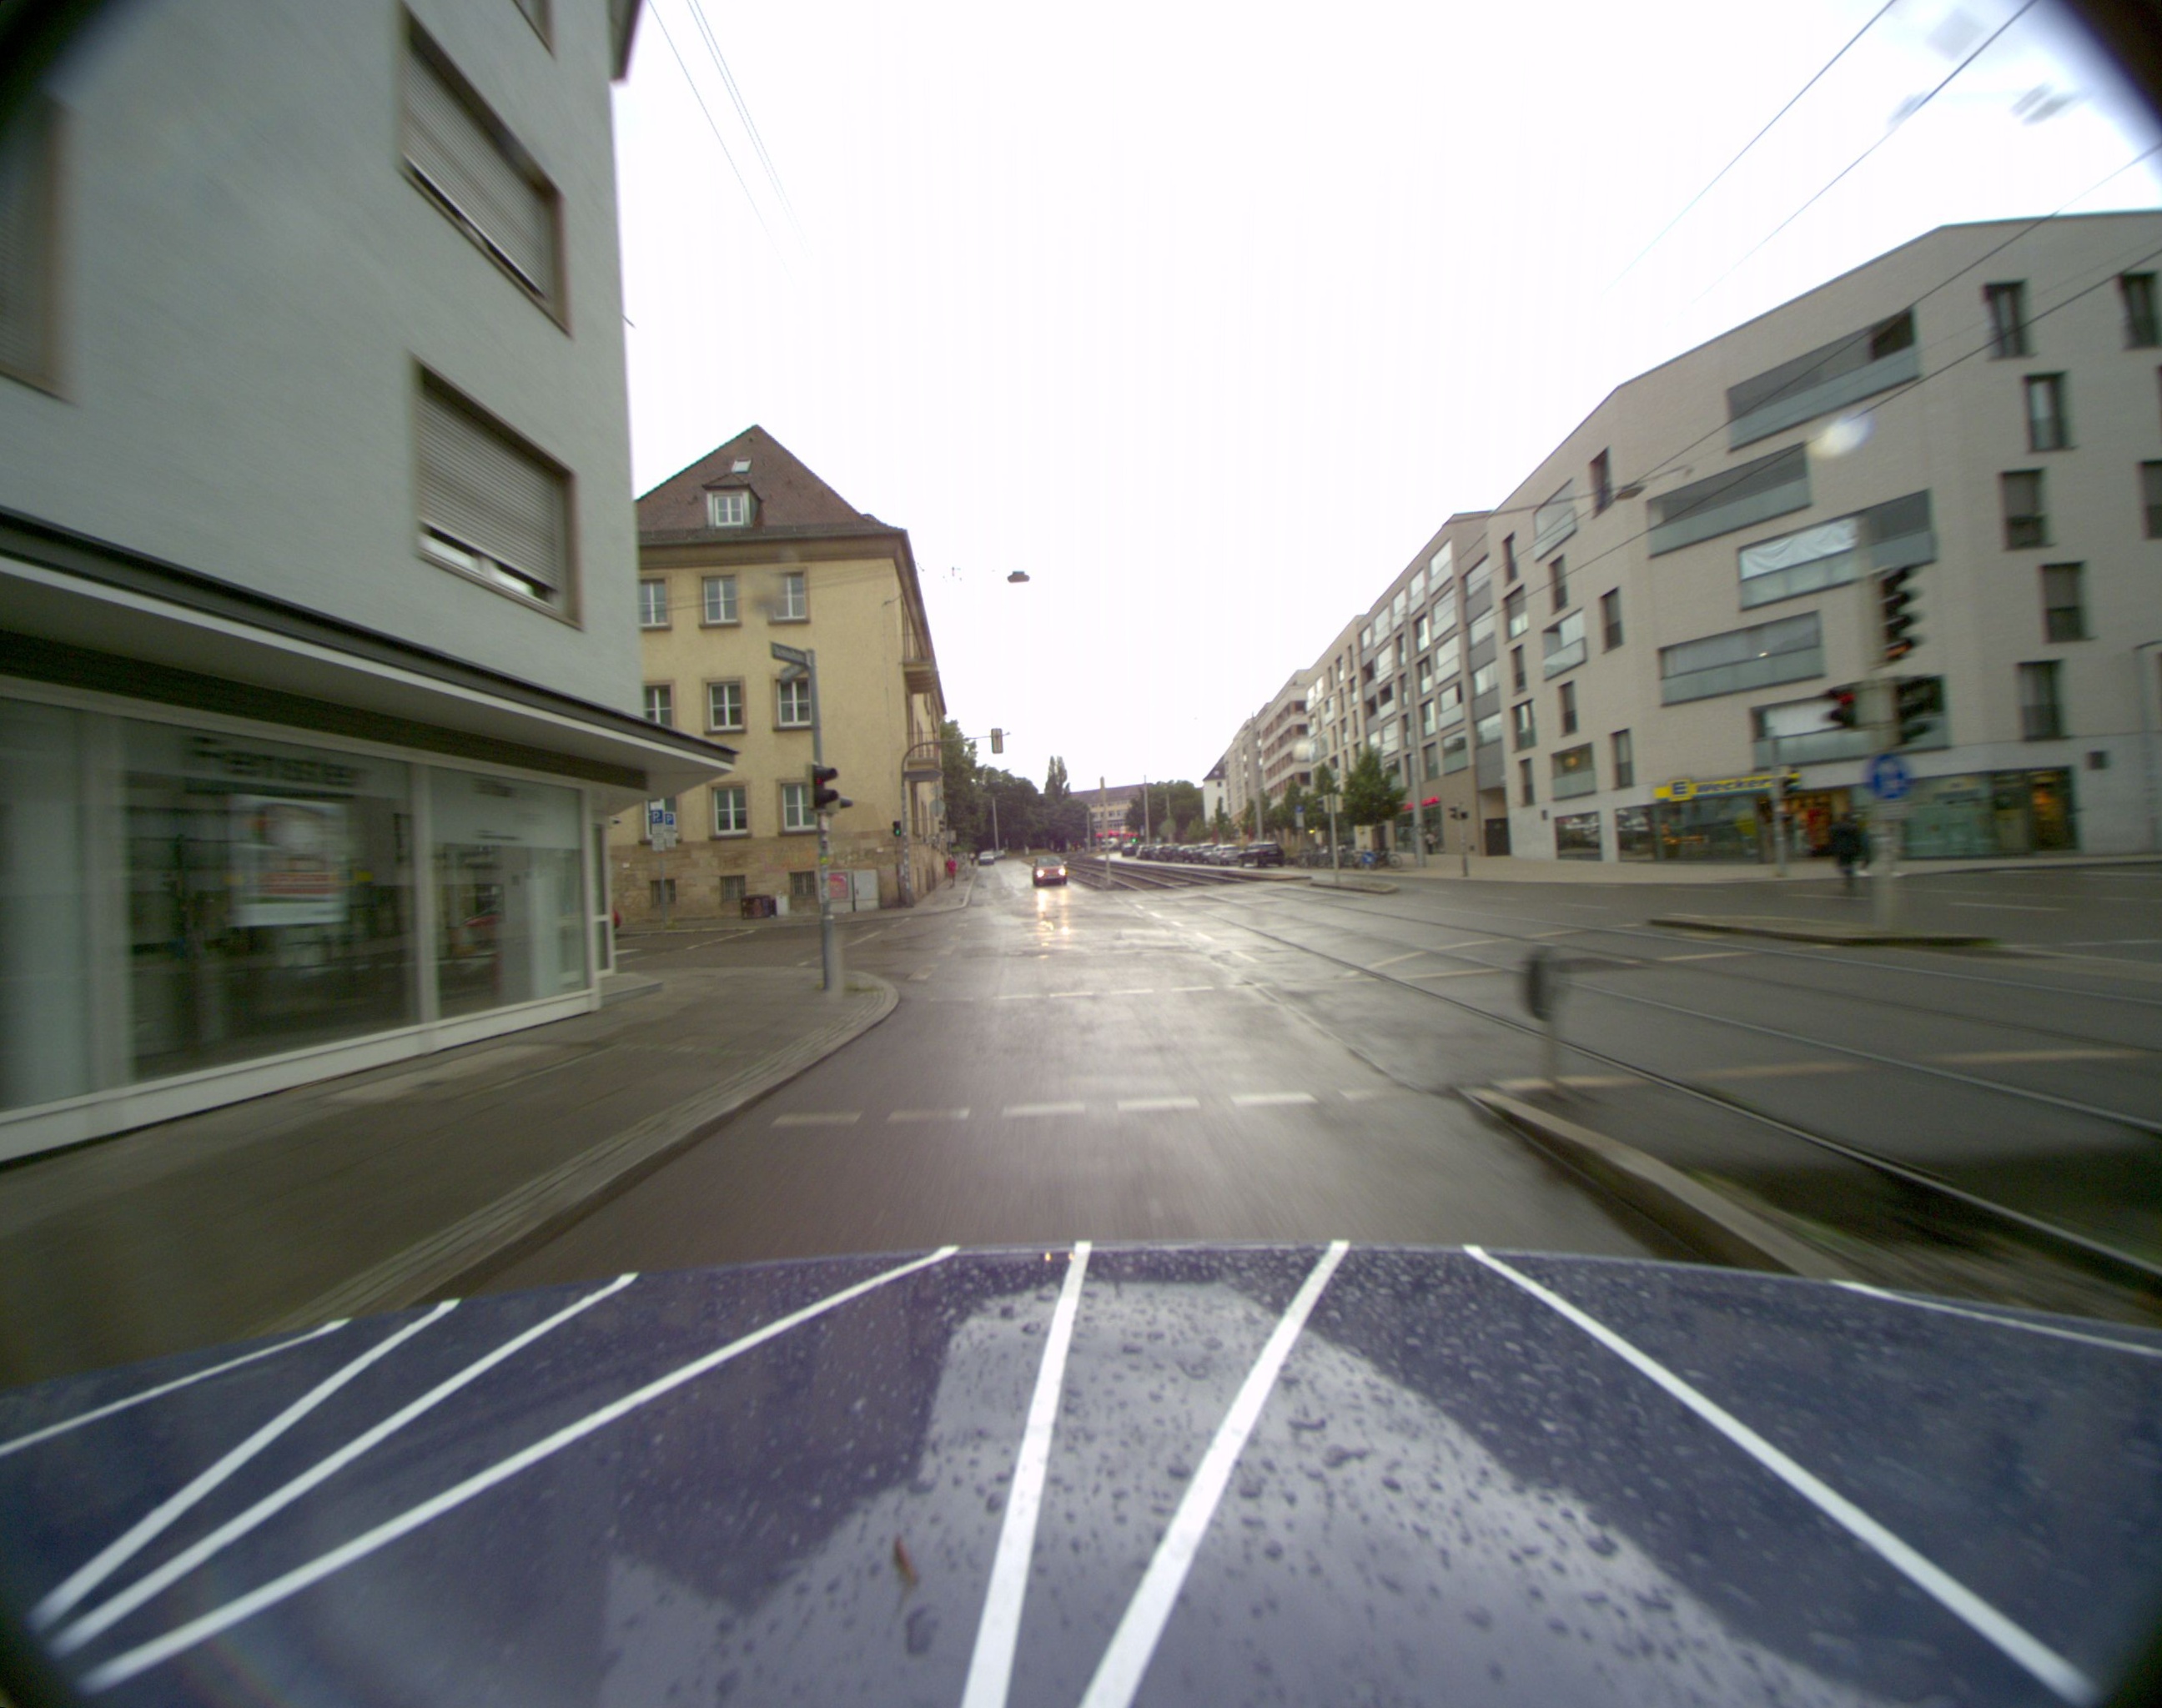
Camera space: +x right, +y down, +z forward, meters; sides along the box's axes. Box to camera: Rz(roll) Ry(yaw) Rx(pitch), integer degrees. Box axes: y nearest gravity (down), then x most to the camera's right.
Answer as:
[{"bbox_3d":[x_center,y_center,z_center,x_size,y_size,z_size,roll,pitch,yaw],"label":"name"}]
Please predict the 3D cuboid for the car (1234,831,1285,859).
[{"bbox_3d":[11.471,-0.633,49.094,1.685,1.595,4.325,-5,2,-8],"label":"car"}]

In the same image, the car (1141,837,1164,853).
[{"bbox_3d":[7.493,-0.941,79.961,1.684,1.496,4.402,-5,2,-2],"label":"car"}]

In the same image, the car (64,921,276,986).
[{"bbox_3d":[-25.942,2.807,21.735,3.859,1.447,1.833,-2,2,2],"label":"car"}]

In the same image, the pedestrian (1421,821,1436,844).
[{"bbox_3d":[22.828,-1.405,49.946,0.540,1.441,0.803,-6,3,6],"label":"pedestrian"}]

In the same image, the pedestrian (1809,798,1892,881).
[{"bbox_3d":[17.712,-0.344,17.510,0.933,1.819,0.959,-3,2,-5],"label":"pedestrian"}]

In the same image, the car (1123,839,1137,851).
[{"bbox_3d":[6.690,-1.245,104.358,1.654,1.456,3.669,-6,2,2],"label":"car"}]

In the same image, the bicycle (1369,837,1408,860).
[{"bbox_3d":[15.178,-0.261,37.464,1.789,0.975,0.440,-6,3,-11],"label":"bicycle"}]

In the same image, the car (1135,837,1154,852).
[{"bbox_3d":[7.081,-1.107,85.265,1.650,1.496,3.778,-5,2,-1],"label":"car"}]

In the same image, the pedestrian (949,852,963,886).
[{"bbox_3d":[-6.788,0.806,41.312,0.749,1.754,0.818,-1,2,-8],"label":"pedestrian"}]

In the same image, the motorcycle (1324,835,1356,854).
[{"bbox_3d":[15.726,-0.602,46.189,1.764,1.037,0.542,-3,4,-10],"label":"motorcycle"}]

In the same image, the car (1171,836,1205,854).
[{"bbox_3d":[9.152,-0.763,65.248,1.685,1.373,4.029,-5,2,-8],"label":"car"}]

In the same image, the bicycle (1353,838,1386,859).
[{"bbox_3d":[14.909,-0.294,39.303,1.791,0.912,0.386,-6,2,-24],"label":"bicycle"}]

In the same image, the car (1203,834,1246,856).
[{"bbox_3d":[10.476,-0.681,55.659,1.685,1.456,4.325,-5,2,-8],"label":"car"}]

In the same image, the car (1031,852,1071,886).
[{"bbox_3d":[-1.602,0.759,39.851,1.594,1.456,3.666,-6,2,-8],"label":"car"}]

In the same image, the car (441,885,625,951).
[{"bbox_3d":[-15.218,1.766,21.225,3.858,1.511,1.765,-2,3,5],"label":"car"}]

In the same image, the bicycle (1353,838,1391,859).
[{"bbox_3d":[14.765,-0.281,38.571,1.789,0.871,0.387,-5,3,-9],"label":"bicycle"}]

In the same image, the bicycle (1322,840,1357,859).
[{"bbox_3d":[13.969,-0.250,41.077,1.789,0.913,0.387,-5,3,-11],"label":"bicycle"}]

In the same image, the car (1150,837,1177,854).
[{"bbox_3d":[8.111,-0.854,75.042,1.685,1.496,3.925,-5,2,-8],"label":"car"}]

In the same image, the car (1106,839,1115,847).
[{"bbox_3d":[7.102,-2.740,183.006,1.667,1.598,3.809,-6,2,8],"label":"car"}]

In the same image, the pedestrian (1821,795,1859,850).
[{"bbox_3d":[24.326,-1.013,24.353,0.706,1.701,0.584,-5,2,-20],"label":"pedestrian"}]

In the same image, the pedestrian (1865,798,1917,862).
[{"bbox_3d":[20.971,-0.605,19.670,0.649,1.560,0.775,-8,3,-34],"label":"pedestrian"}]

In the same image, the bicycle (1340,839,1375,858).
[{"bbox_3d":[14.654,-0.291,40.272,1.790,0.912,0.387,-4,2,-15],"label":"bicycle"}]

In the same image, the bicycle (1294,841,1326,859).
[{"bbox_3d":[13.381,-0.256,44.352,1.789,0.912,0.387,-4,2,-11],"label":"bicycle"}]

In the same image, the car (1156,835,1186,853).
[{"bbox_3d":[8.289,-0.944,70.428,1.685,1.555,3.925,-5,2,-8],"label":"car"}]

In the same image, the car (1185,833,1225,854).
[{"bbox_3d":[9.860,-0.843,60.528,1.686,1.521,4.044,-5,2,-12],"label":"car"}]

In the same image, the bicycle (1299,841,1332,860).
[{"bbox_3d":[13.331,-0.210,43.199,1.789,0.912,0.387,-4,2,-11],"label":"bicycle"}]

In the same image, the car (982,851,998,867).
[{"bbox_3d":[-11.299,0.553,94.413,1.727,1.676,3.862,-6,2,-8],"label":"car"}]

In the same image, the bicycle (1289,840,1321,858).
[{"bbox_3d":[13.330,-0.304,45.212,1.789,0.912,0.387,-5,2,-11],"label":"bicycle"}]

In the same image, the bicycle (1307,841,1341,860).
[{"bbox_3d":[13.541,-0.214,42.318,1.789,0.912,0.387,-4,2,-11],"label":"bicycle"}]
